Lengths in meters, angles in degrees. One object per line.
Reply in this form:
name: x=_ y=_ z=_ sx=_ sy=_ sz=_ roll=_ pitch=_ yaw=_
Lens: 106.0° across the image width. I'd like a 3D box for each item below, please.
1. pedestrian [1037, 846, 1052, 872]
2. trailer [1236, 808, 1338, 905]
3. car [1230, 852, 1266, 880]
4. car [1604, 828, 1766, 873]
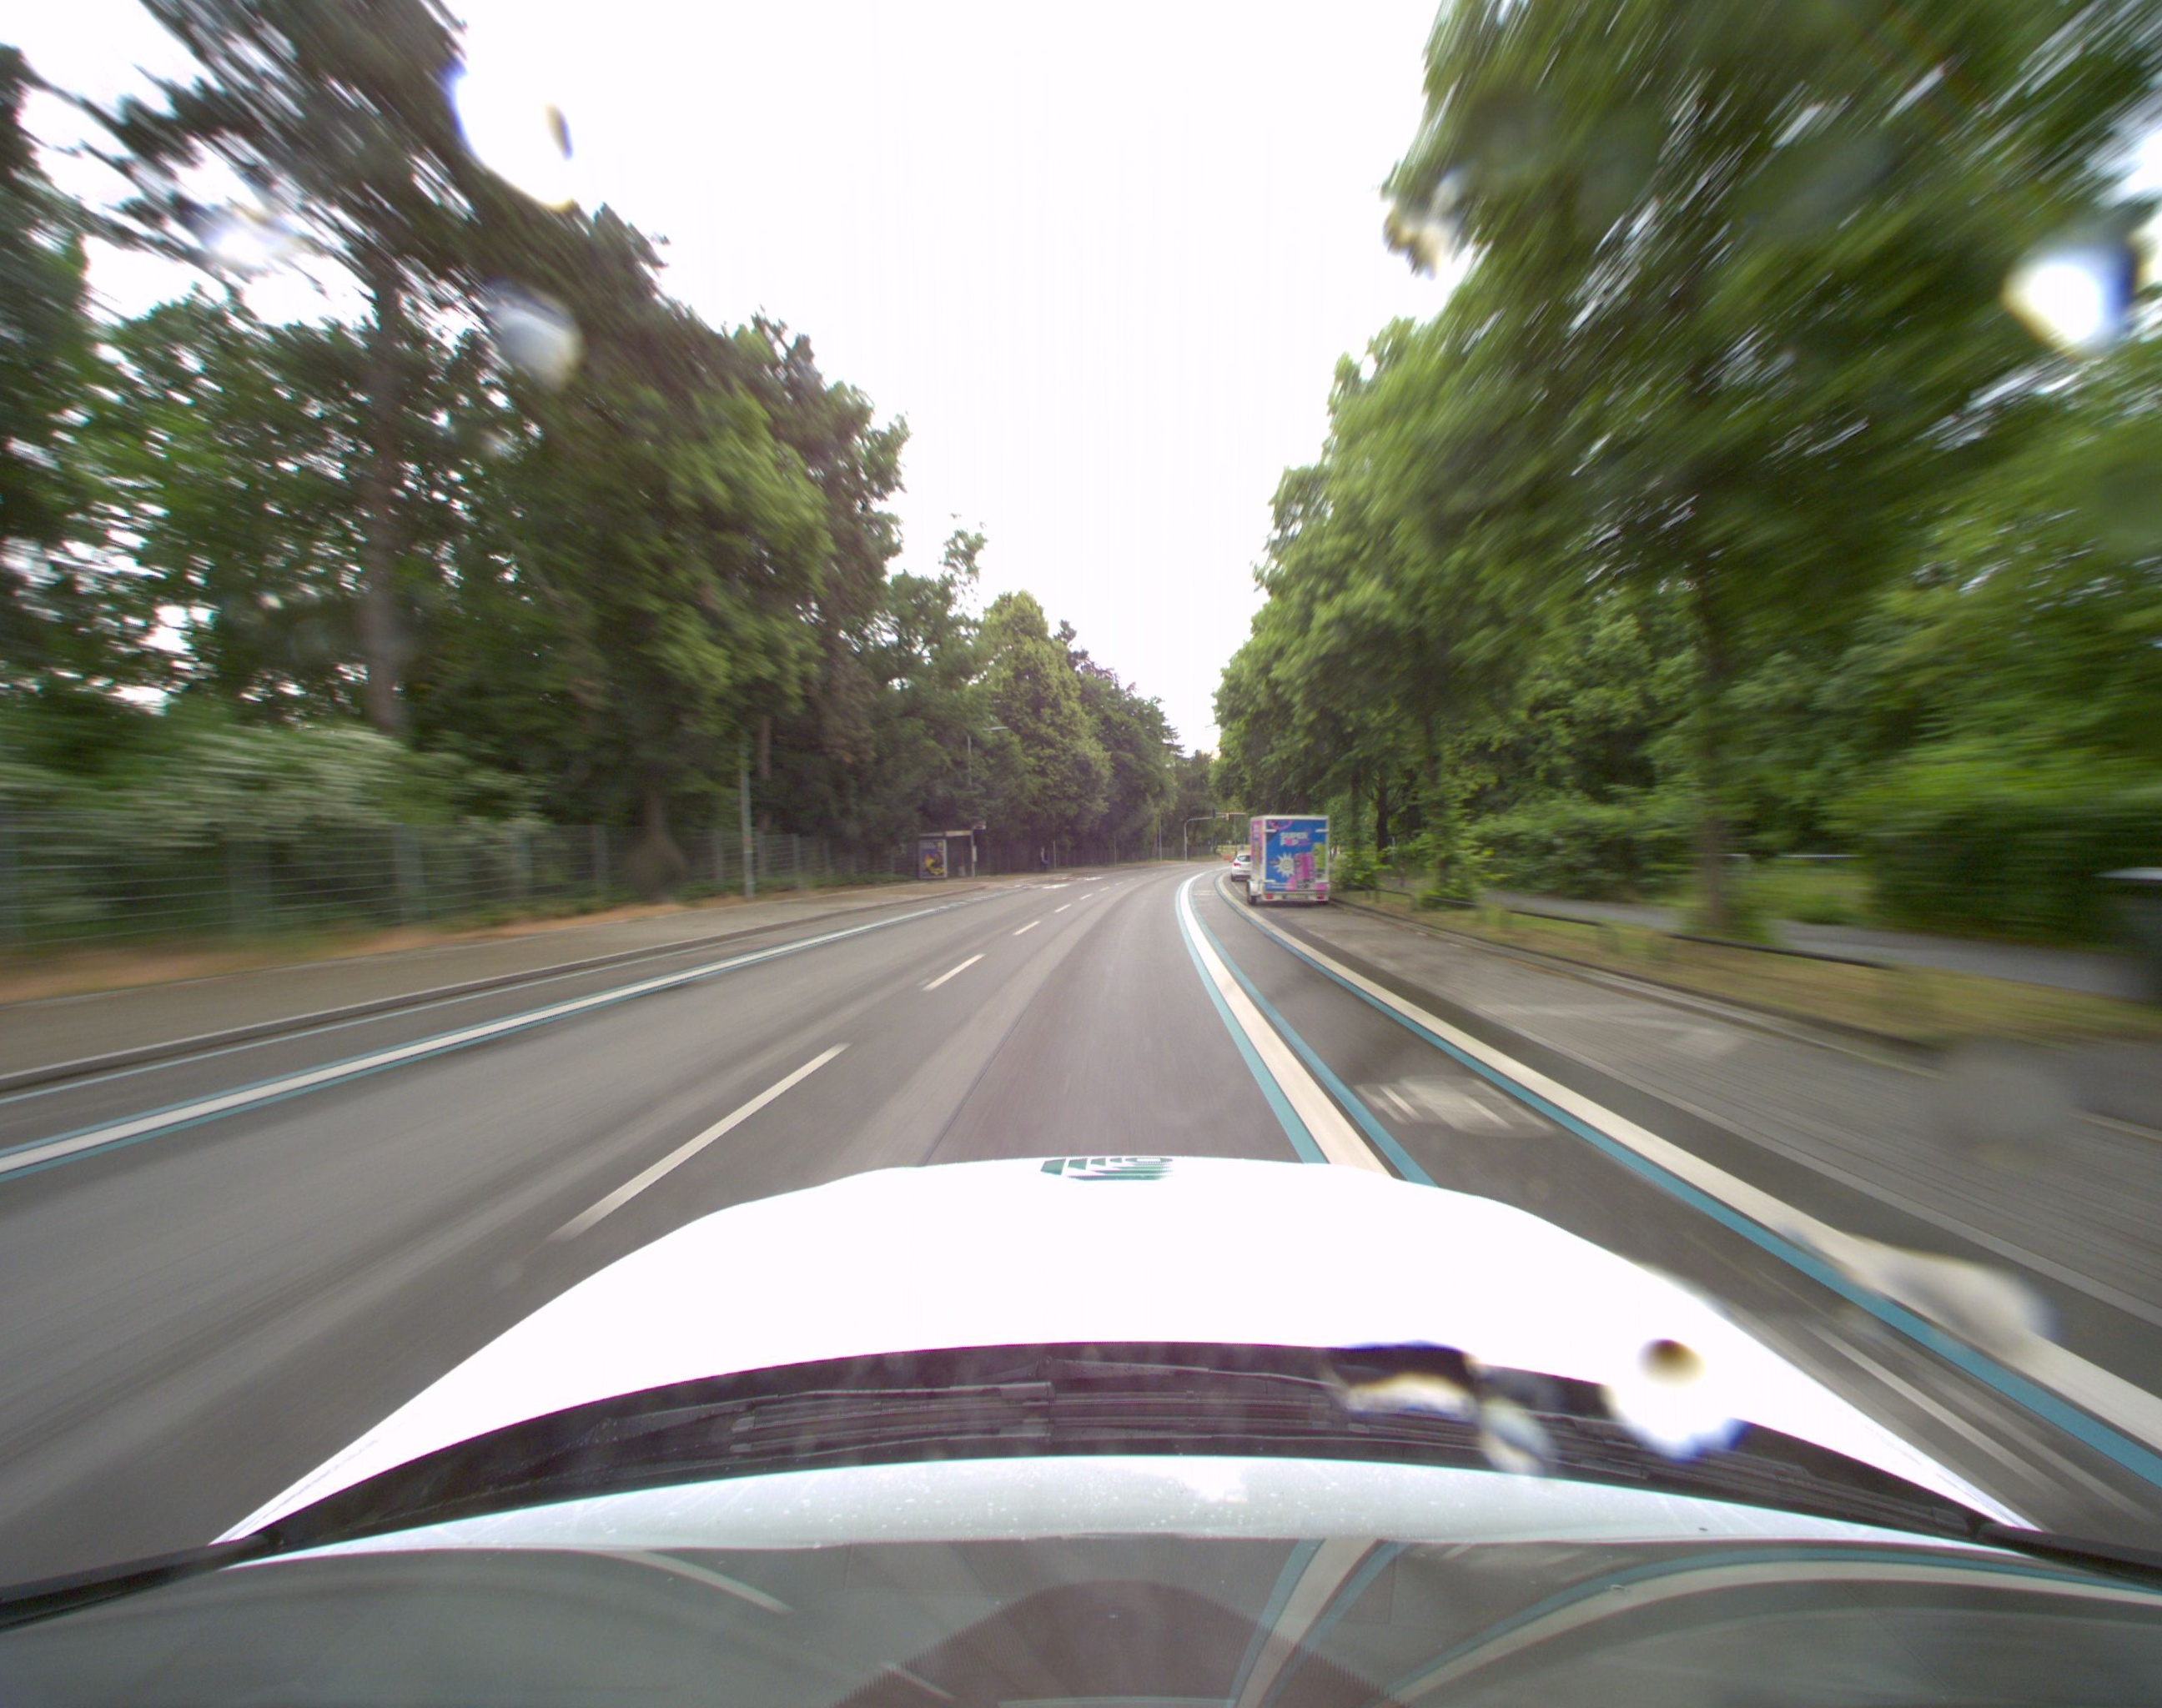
pedestrian: x=-2.517 y=0.338 z=56.138 sx=0.882 sy=1.733 sz=1.148 roll=0 pitch=0 yaw=6
trailer: x=6.162 y=0.066 z=25.051 sx=2.304 sy=2.672 sz=5.385 roll=0 pitch=0 yaw=6
car: x=9.063 y=0.608 z=44.307 sx=1.848 sy=1.428 sz=4.664 roll=0 pitch=0 yaw=11
car: x=20.921 y=-0.114 z=28.396 sx=4.104 sy=1.322 sz=1.899 roll=-3 pitch=-1 yaw=17
